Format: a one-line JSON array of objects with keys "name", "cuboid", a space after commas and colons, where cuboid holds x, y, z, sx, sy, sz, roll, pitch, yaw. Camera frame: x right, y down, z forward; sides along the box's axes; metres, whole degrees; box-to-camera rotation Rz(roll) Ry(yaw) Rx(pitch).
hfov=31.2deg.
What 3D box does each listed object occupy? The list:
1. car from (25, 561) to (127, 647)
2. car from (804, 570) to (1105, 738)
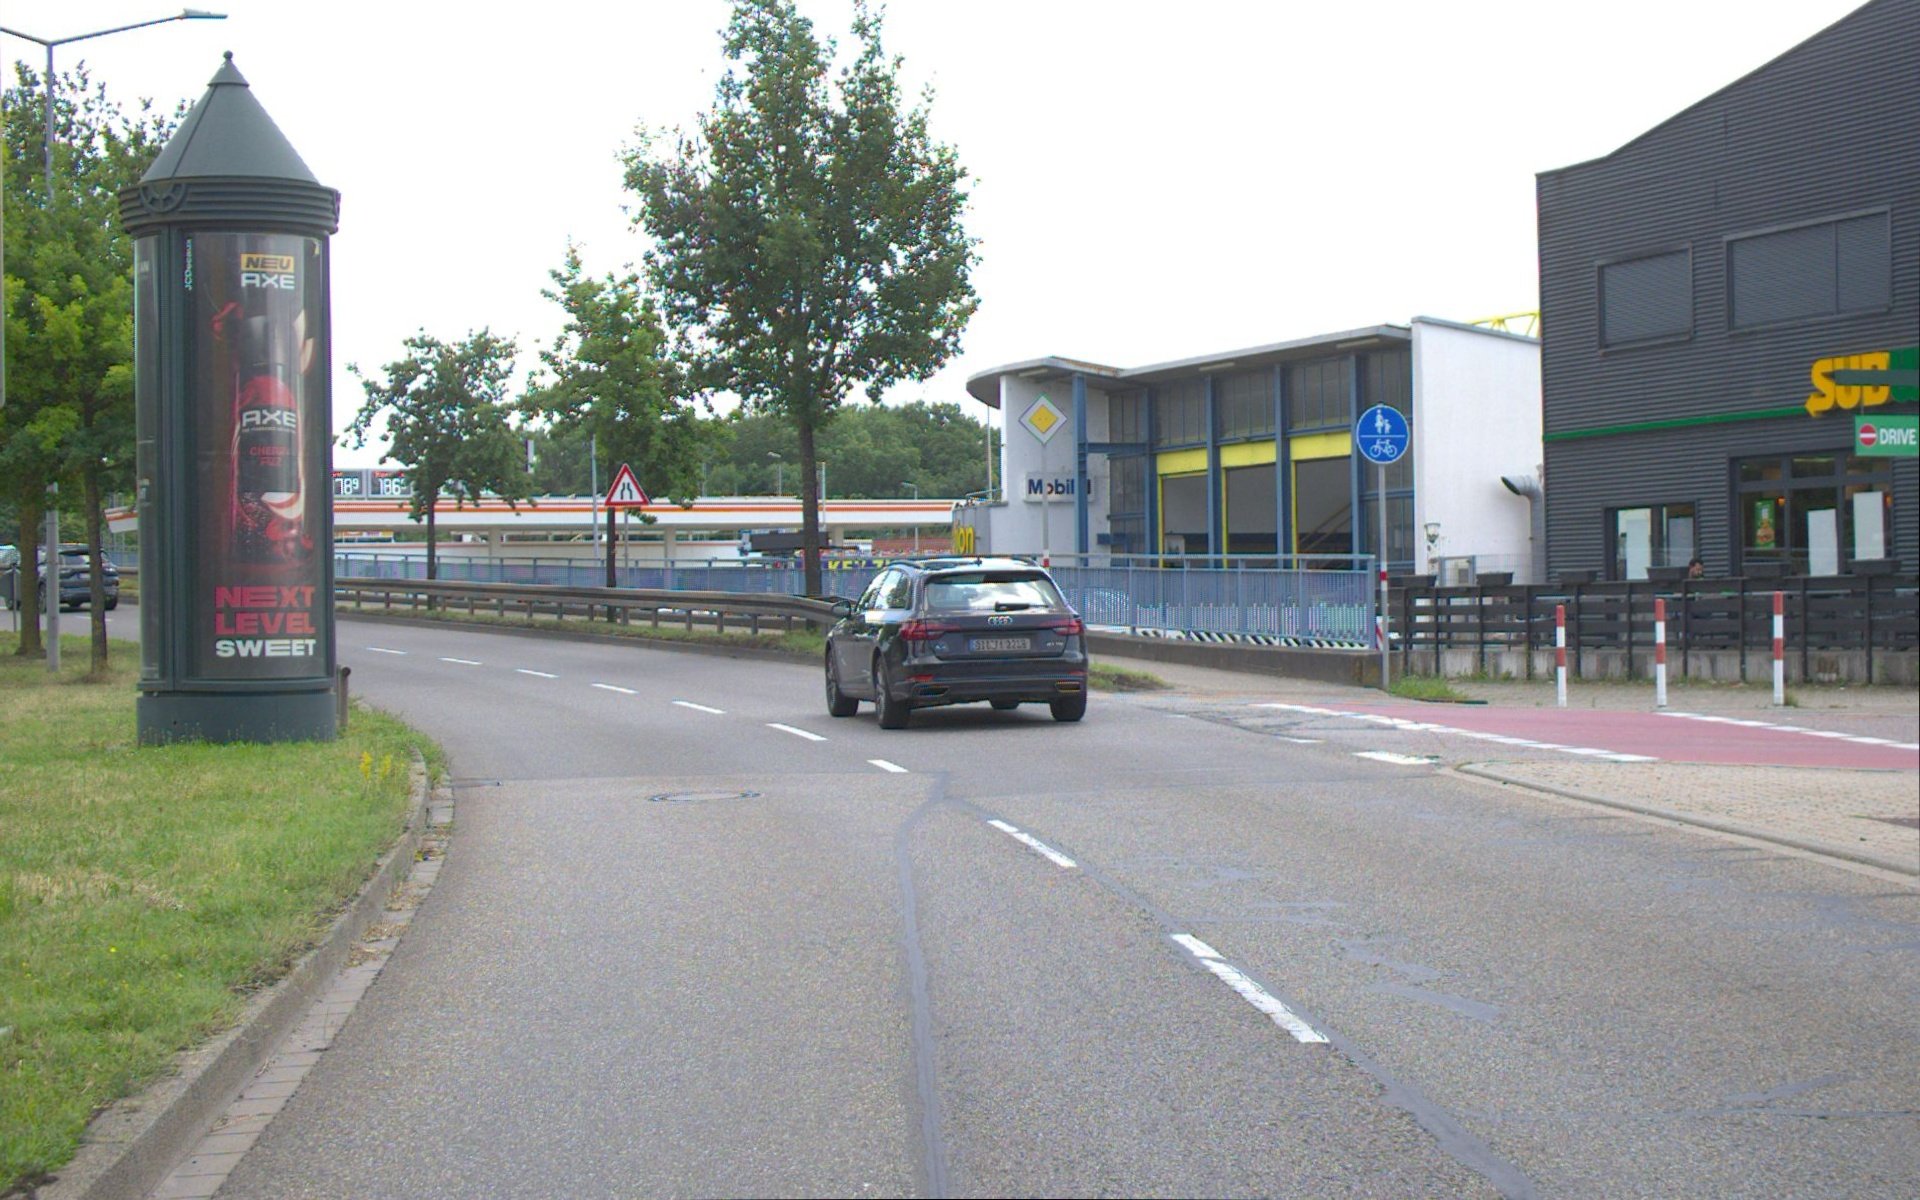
[{"name": "car", "cuboid": [-22.092, 0.127, 85.798, 1.993, 2.030, 4.714, -1, -1, -20]}, {"name": "car", "cuboid": [-0.141, 0.444, 30.755, 1.993, 1.386, 4.576, 0, 0, -9]}]
